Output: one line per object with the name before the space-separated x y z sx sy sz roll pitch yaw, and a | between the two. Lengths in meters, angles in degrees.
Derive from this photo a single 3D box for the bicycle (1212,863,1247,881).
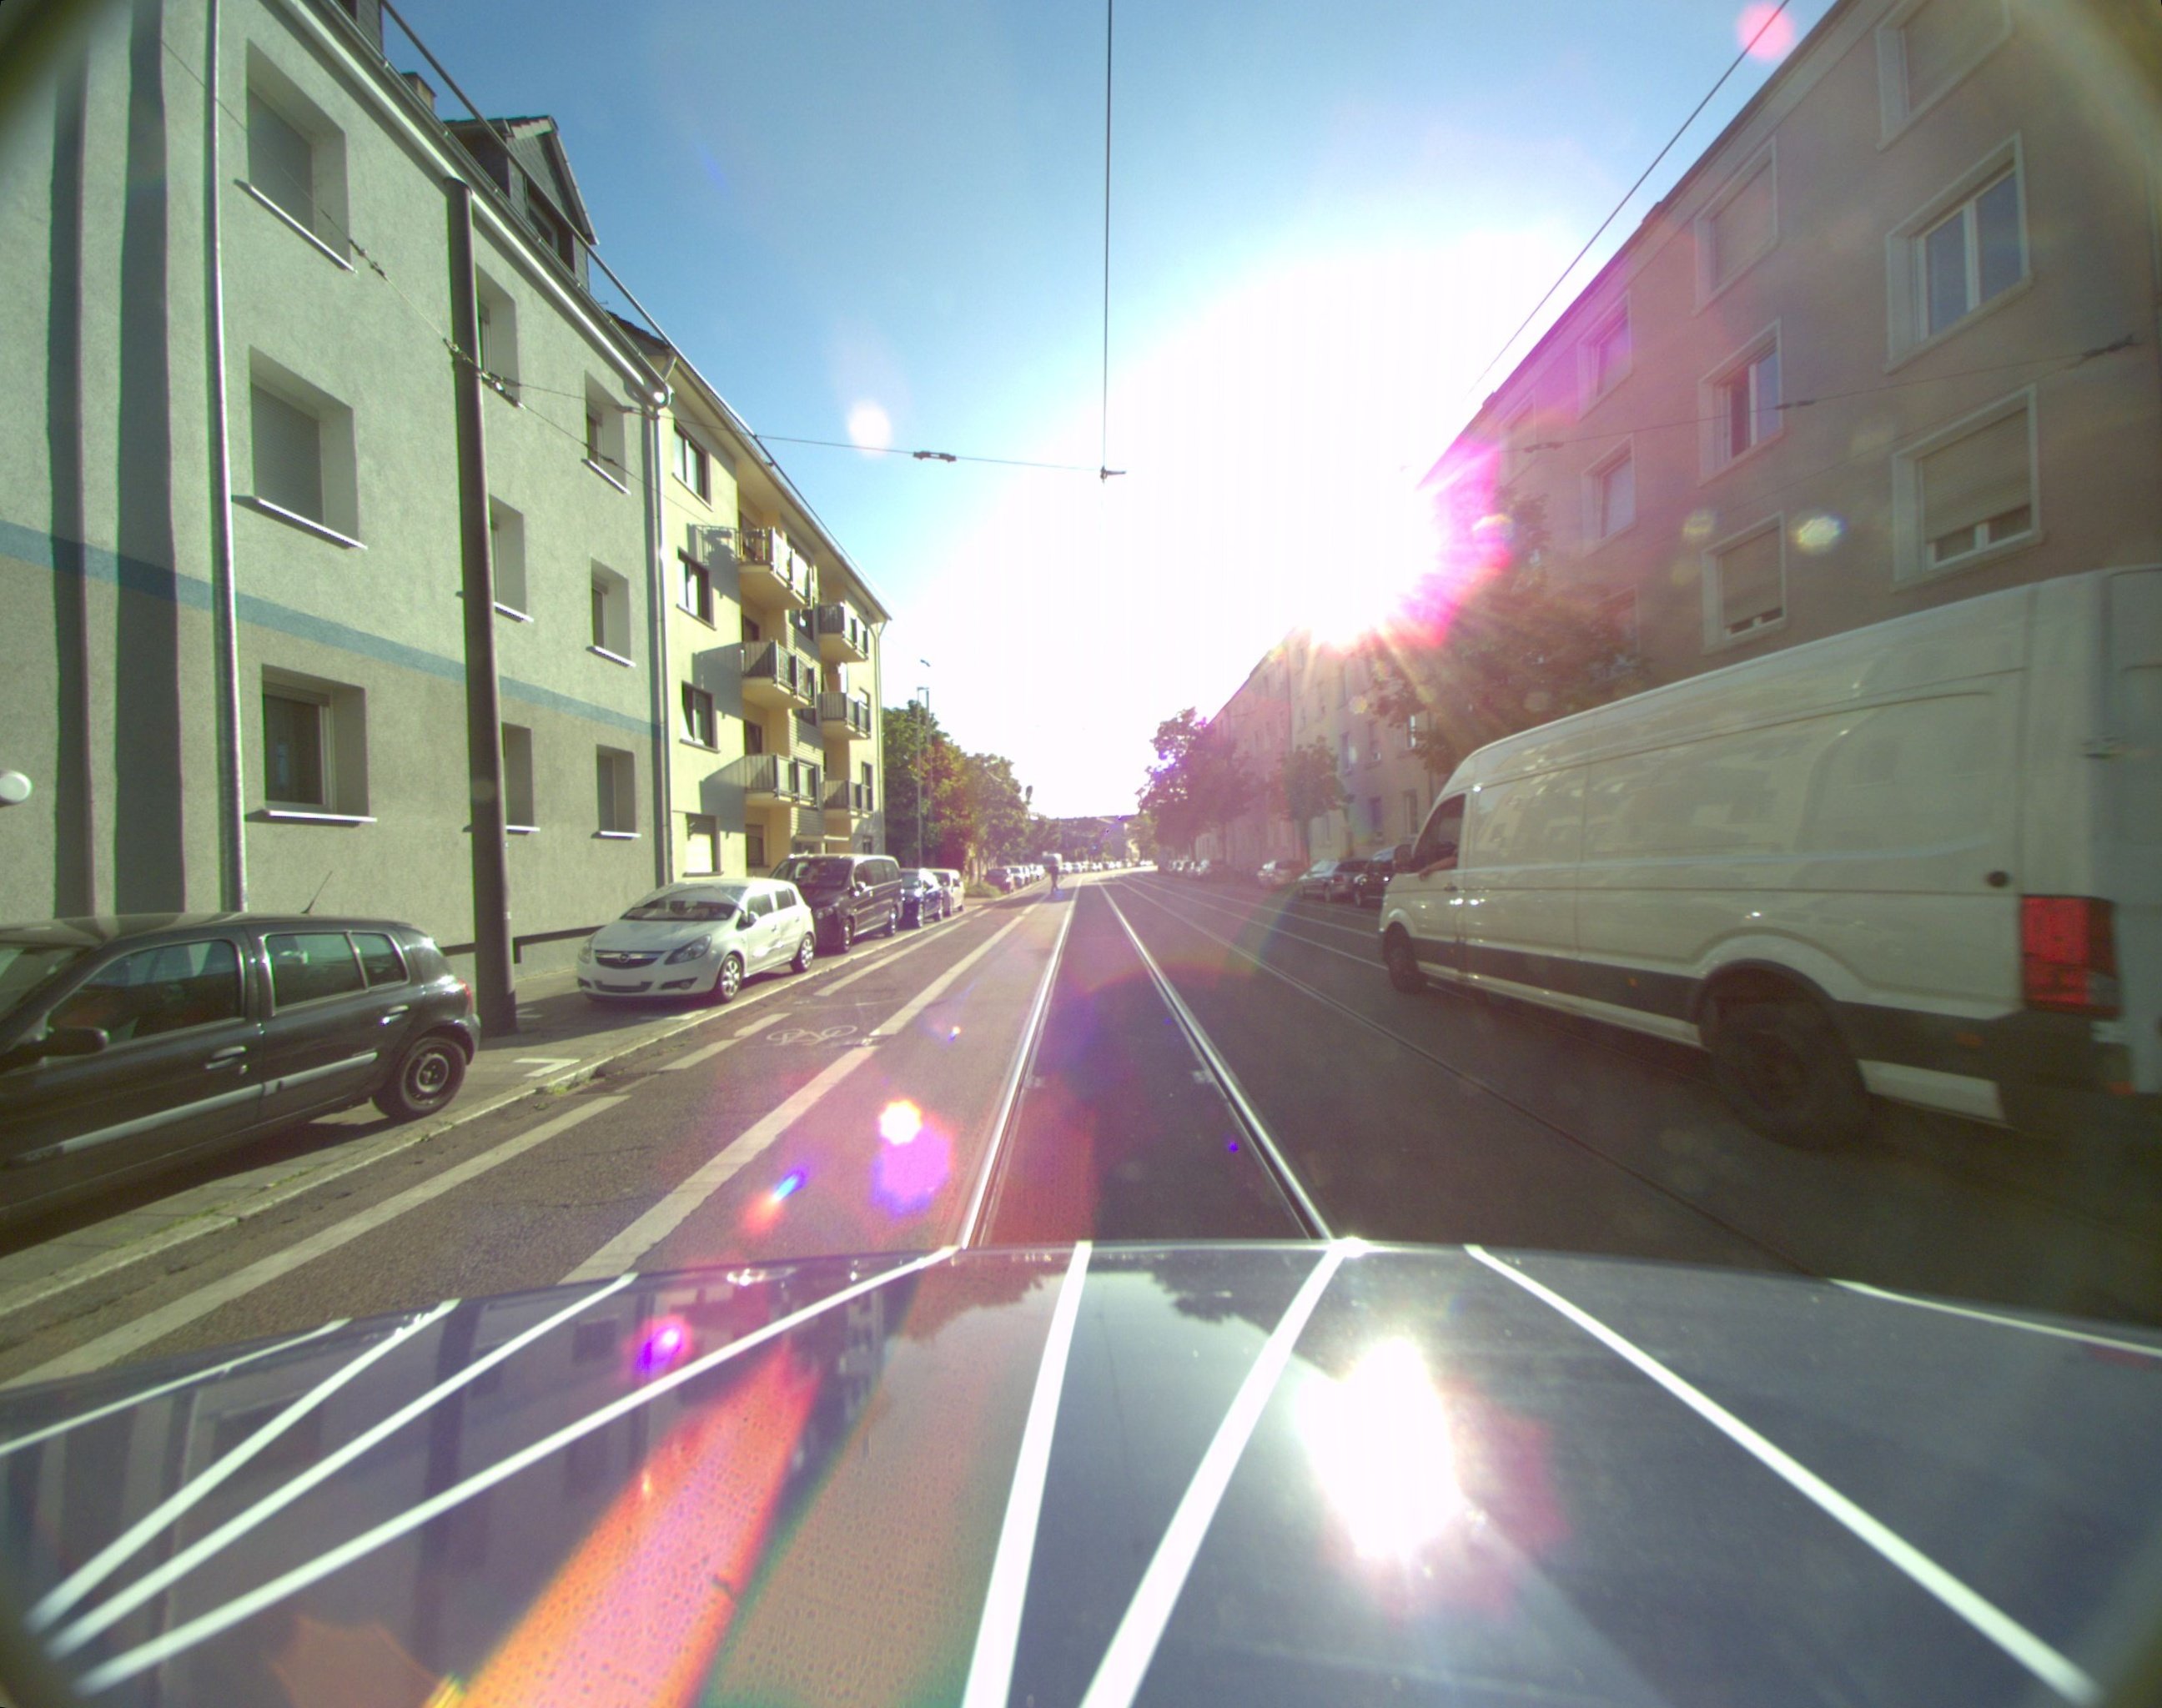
bicycle | 9.768 1.164 49.897 2.150 1.136 0.530 -2 0 -3

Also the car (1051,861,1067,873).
car | -2.990 1.692 102.114 1.828 1.561 4.266 0 0 3

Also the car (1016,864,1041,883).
car | -4.420 1.660 64.935 1.829 1.561 4.478 0 0 0

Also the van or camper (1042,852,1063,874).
van or camper | -3.529 1.123 95.303 2.090 2.548 5.694 -2 0 2

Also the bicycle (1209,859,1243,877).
bicycle | 9.638 0.934 50.623 2.150 1.136 0.535 -2 0 -3

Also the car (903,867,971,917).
car | -4.818 1.246 25.820 1.557 1.533 3.632 0 0 1

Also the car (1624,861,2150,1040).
car | 8.726 0.893 8.878 1.769 1.464 4.041 -4 0 0

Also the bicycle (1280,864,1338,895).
bicycle | 9.446 1.049 31.559 2.149 1.136 0.659 -3 0 -3

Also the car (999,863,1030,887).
car | -4.725 1.466 54.264 1.829 1.561 4.478 0 0 0

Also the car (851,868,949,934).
car | -4.833 1.201 20.857 1.612 1.561 4.219 0 0 1

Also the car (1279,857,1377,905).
car | 8.606 0.885 26.928 1.770 1.464 4.858 -2 0 -1

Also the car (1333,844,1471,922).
car | 8.825 0.753 21.364 1.770 1.834 4.423 -4 0 -2

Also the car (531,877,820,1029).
car | -5.098 1.138 10.256 1.805 1.561 3.904 0 0 0

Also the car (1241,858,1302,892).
car | 8.934 0.945 35.963 1.769 1.464 4.753 -2 0 2

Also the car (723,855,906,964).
car | -5.272 0.994 15.887 1.934 1.910 5.004 0 0 2

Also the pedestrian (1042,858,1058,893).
pedestrian | -1.637 1.111 40.108 0.801 1.800 0.946 0 0 1

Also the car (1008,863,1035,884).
car | -4.640 1.484 59.699 1.829 1.561 4.478 0 0 0

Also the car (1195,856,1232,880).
car | 9.456 0.977 54.404 1.688 1.614 4.047 -2 0 -3

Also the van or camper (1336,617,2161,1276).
van or camper | 4.597 0.352 6.396 2.376 2.538 6.833 -2 0 -2

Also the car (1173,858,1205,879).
car | 8.523 1.111 60.145 1.688 1.542 4.047 -2 0 -3

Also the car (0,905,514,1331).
car | -5.162 1.159 3.812 1.612 1.561 3.904 0 0 2

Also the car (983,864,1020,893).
car | -4.585 1.391 44.328 1.612 1.561 4.478 0 0 1
